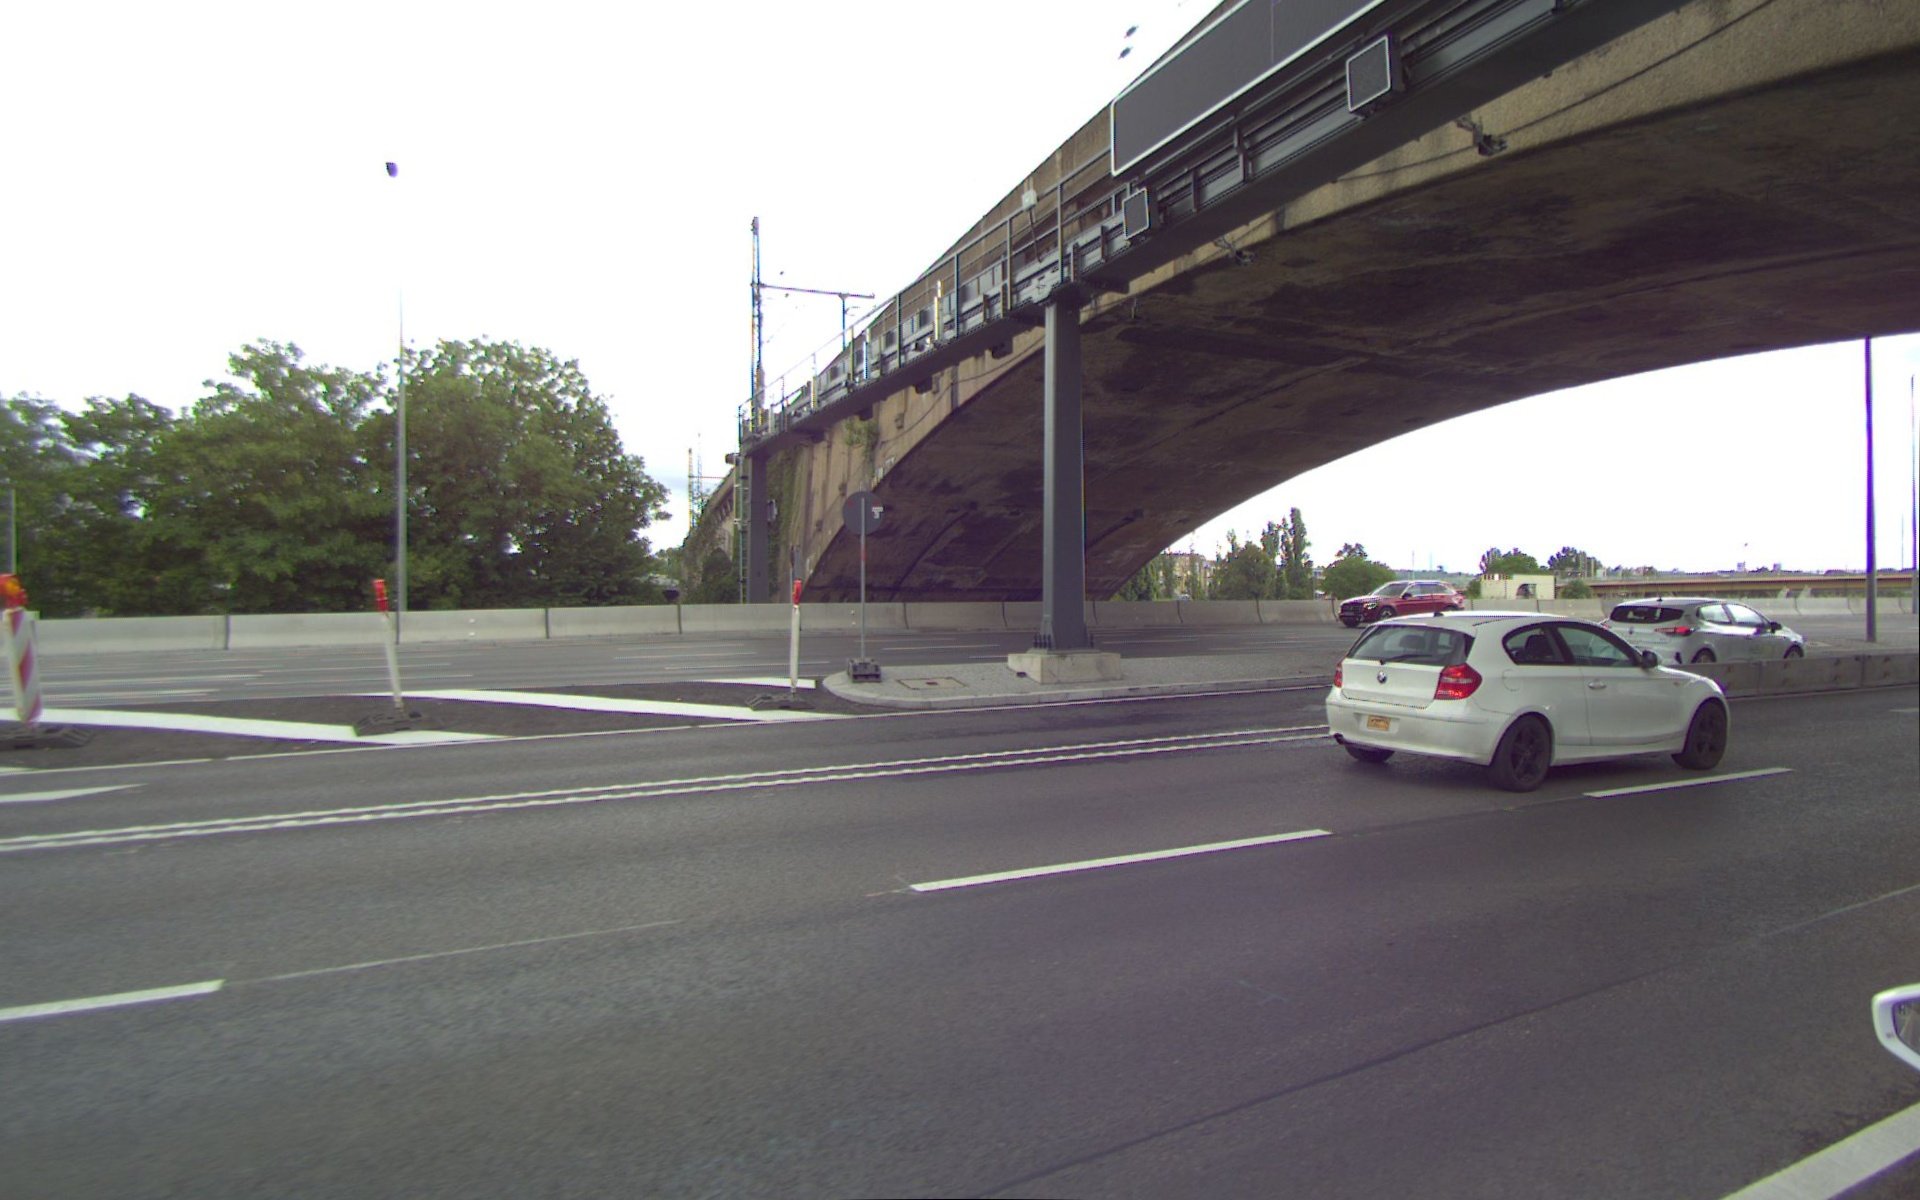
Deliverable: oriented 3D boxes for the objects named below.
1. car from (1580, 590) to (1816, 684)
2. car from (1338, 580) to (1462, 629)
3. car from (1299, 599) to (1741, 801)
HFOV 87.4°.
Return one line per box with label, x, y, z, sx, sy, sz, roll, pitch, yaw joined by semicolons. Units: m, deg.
car;12.967;0.613;17.644;3.941;1.504;1.572;1;1;-24
car;15.580;0.141;35.622;3.934;1.638;1.696;-1;1;-19
car;5.207;0.763;9.283;3.930;1.452;1.632;-1;2;-27
